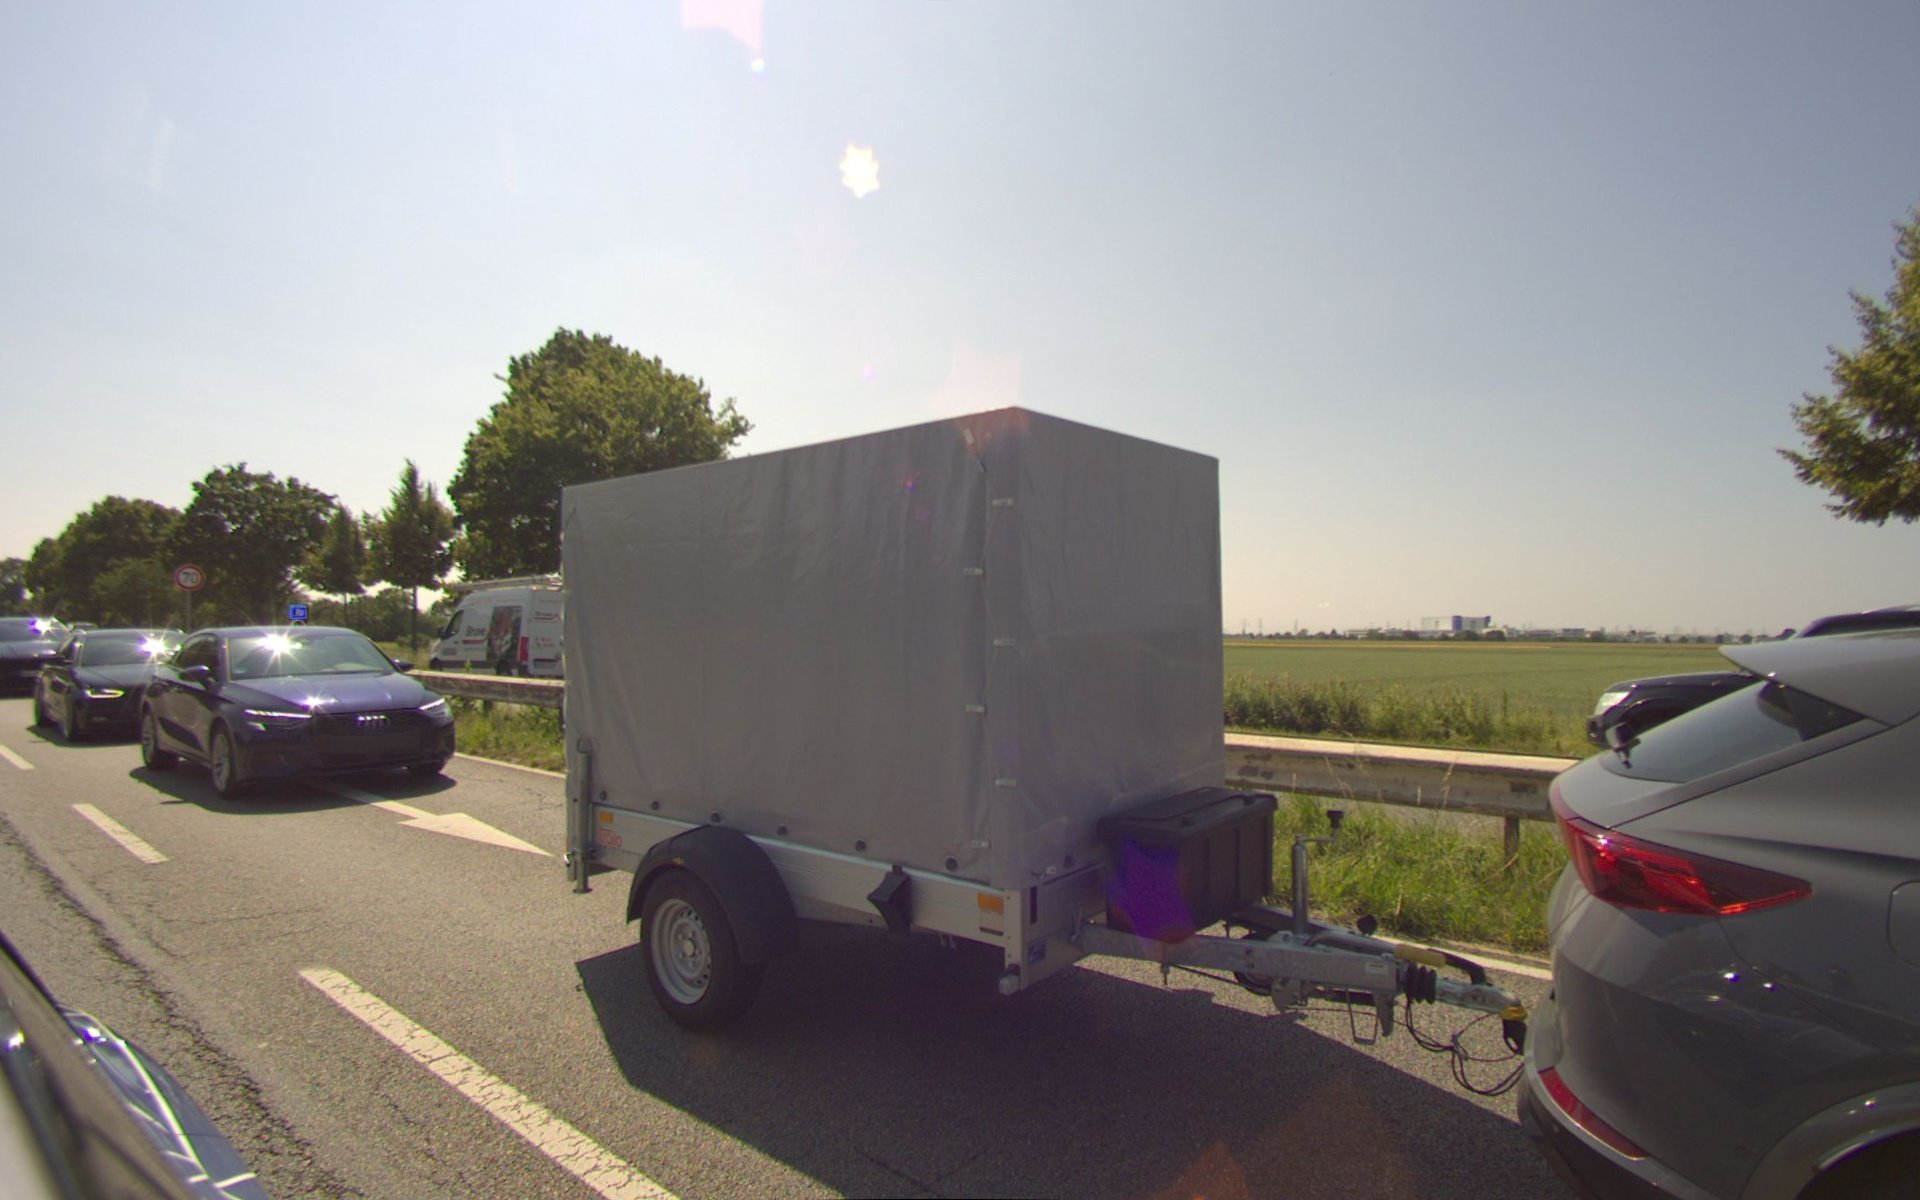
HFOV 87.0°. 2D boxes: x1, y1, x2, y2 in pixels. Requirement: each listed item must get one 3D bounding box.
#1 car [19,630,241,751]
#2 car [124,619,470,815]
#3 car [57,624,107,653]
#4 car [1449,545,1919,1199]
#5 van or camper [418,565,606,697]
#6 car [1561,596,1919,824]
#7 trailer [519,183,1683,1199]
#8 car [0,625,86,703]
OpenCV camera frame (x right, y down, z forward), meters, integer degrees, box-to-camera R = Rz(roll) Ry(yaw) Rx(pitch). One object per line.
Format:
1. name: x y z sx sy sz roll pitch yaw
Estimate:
1. car: -11.658 1.131 14.101 4.453 1.391 1.722 -2 -1 42
2. car: -6.451 0.947 9.678 4.027 1.476 1.699 -2 -1 40
3. car: -62.631 2.729 72.162 4.827 1.966 1.973 -1 -4 41
4. car: 3.122 0.642 1.094 4.360 1.514 1.727 -2 -1 41
5. van or camper: -11.902 0.832 26.717 5.690 3.123 2.240 -2 -3 40
6. car: 8.324 0.934 9.180 4.693 1.870 1.838 -2 -3 40
7. trailer: 0.051 0.373 3.794 4.172 2.190 1.485 -2 -2 41
8. car: -20.236 1.309 21.663 4.099 1.527 1.836 -2 -1 42
